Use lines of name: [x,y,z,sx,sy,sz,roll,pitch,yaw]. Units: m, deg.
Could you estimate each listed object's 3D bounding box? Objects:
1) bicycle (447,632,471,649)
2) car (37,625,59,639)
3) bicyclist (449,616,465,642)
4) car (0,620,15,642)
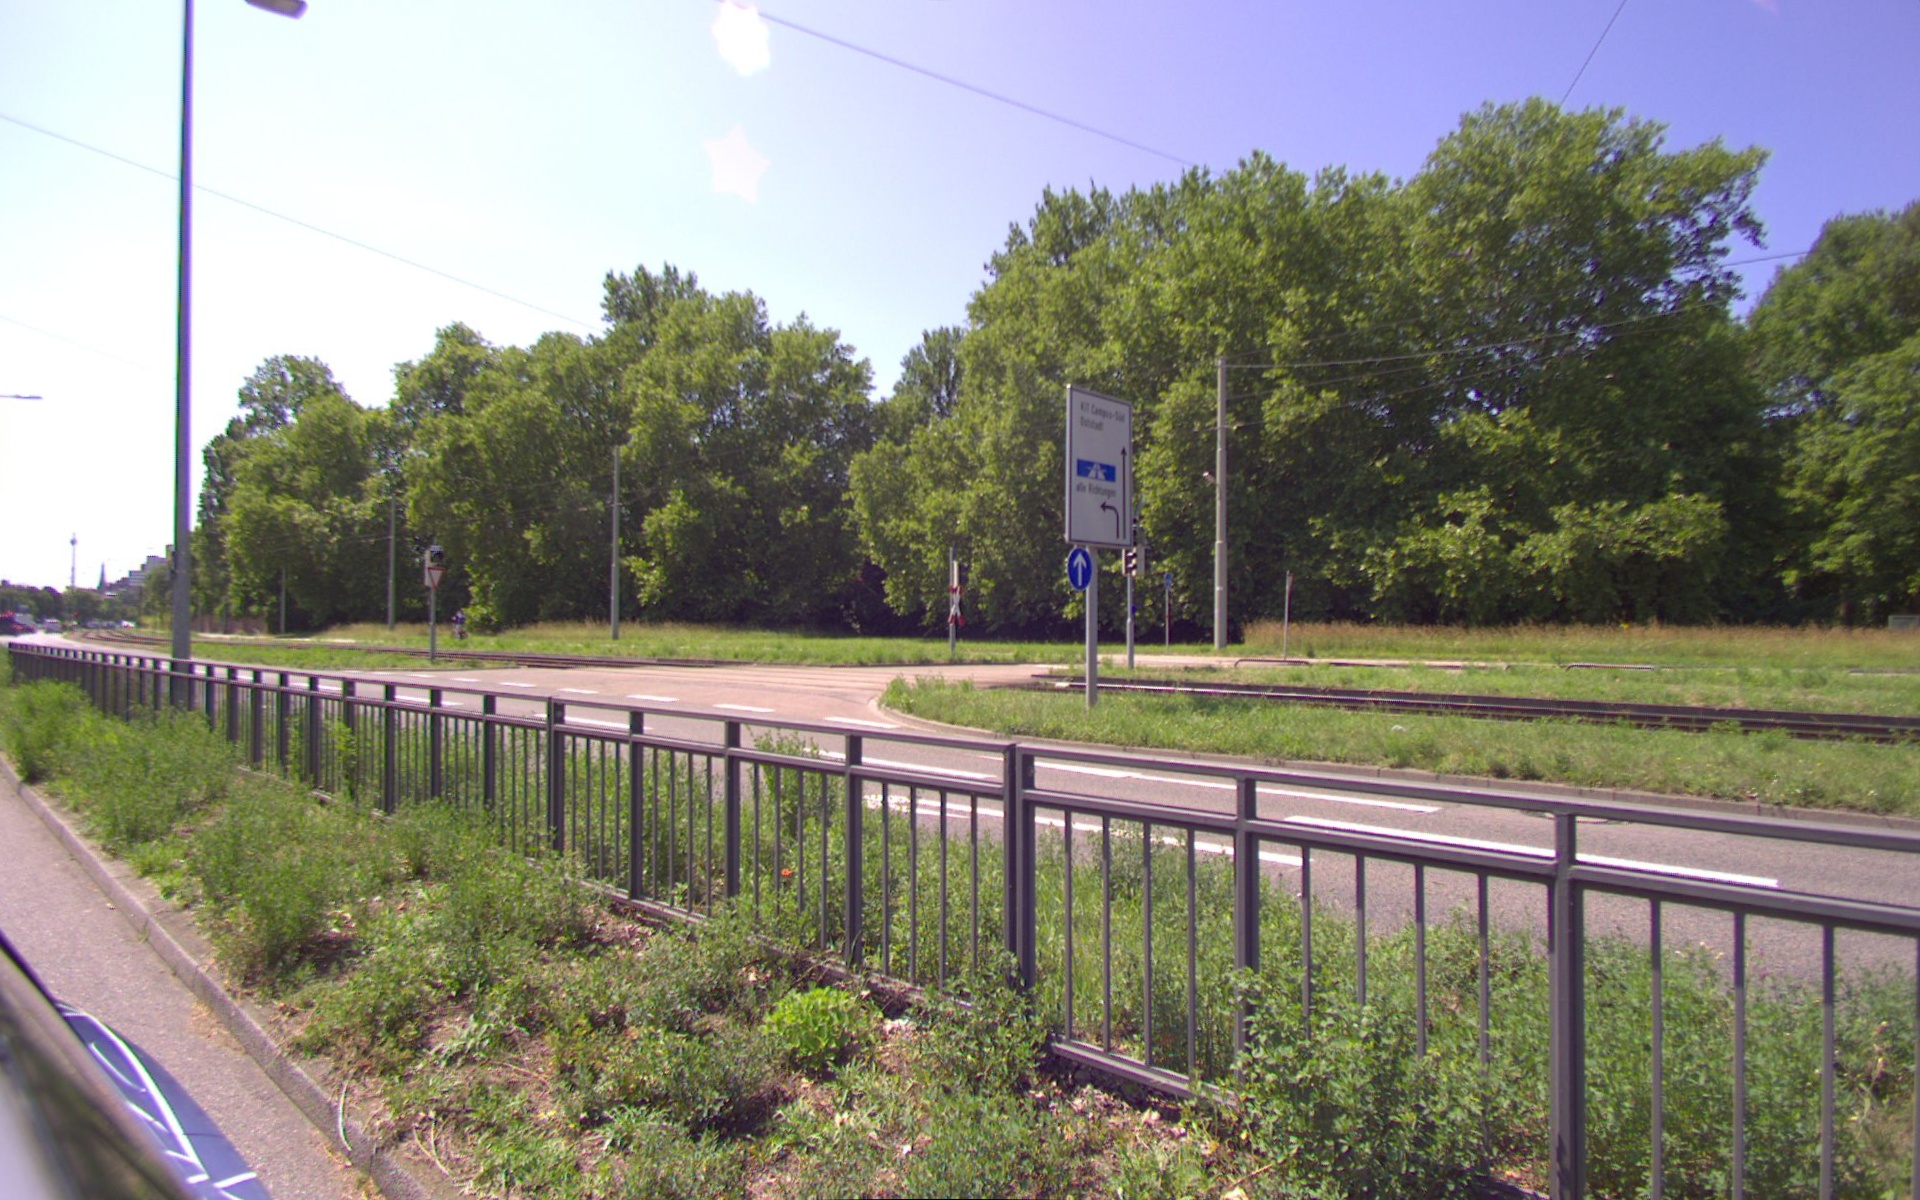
bicycle: [-26.730,2.152,53.965,1.563,0.908,0.503,-1,-1,36]
car: [-133.766,4.737,148.431,5.030,2.029,1.972,-2,-4,43]
bicyclist: [-26.861,1.553,54.041,0.679,1.346,0.503,-1,-1,36]
car: [-103.804,3.335,109.341,5.372,2.384,1.972,-2,-3,43]
